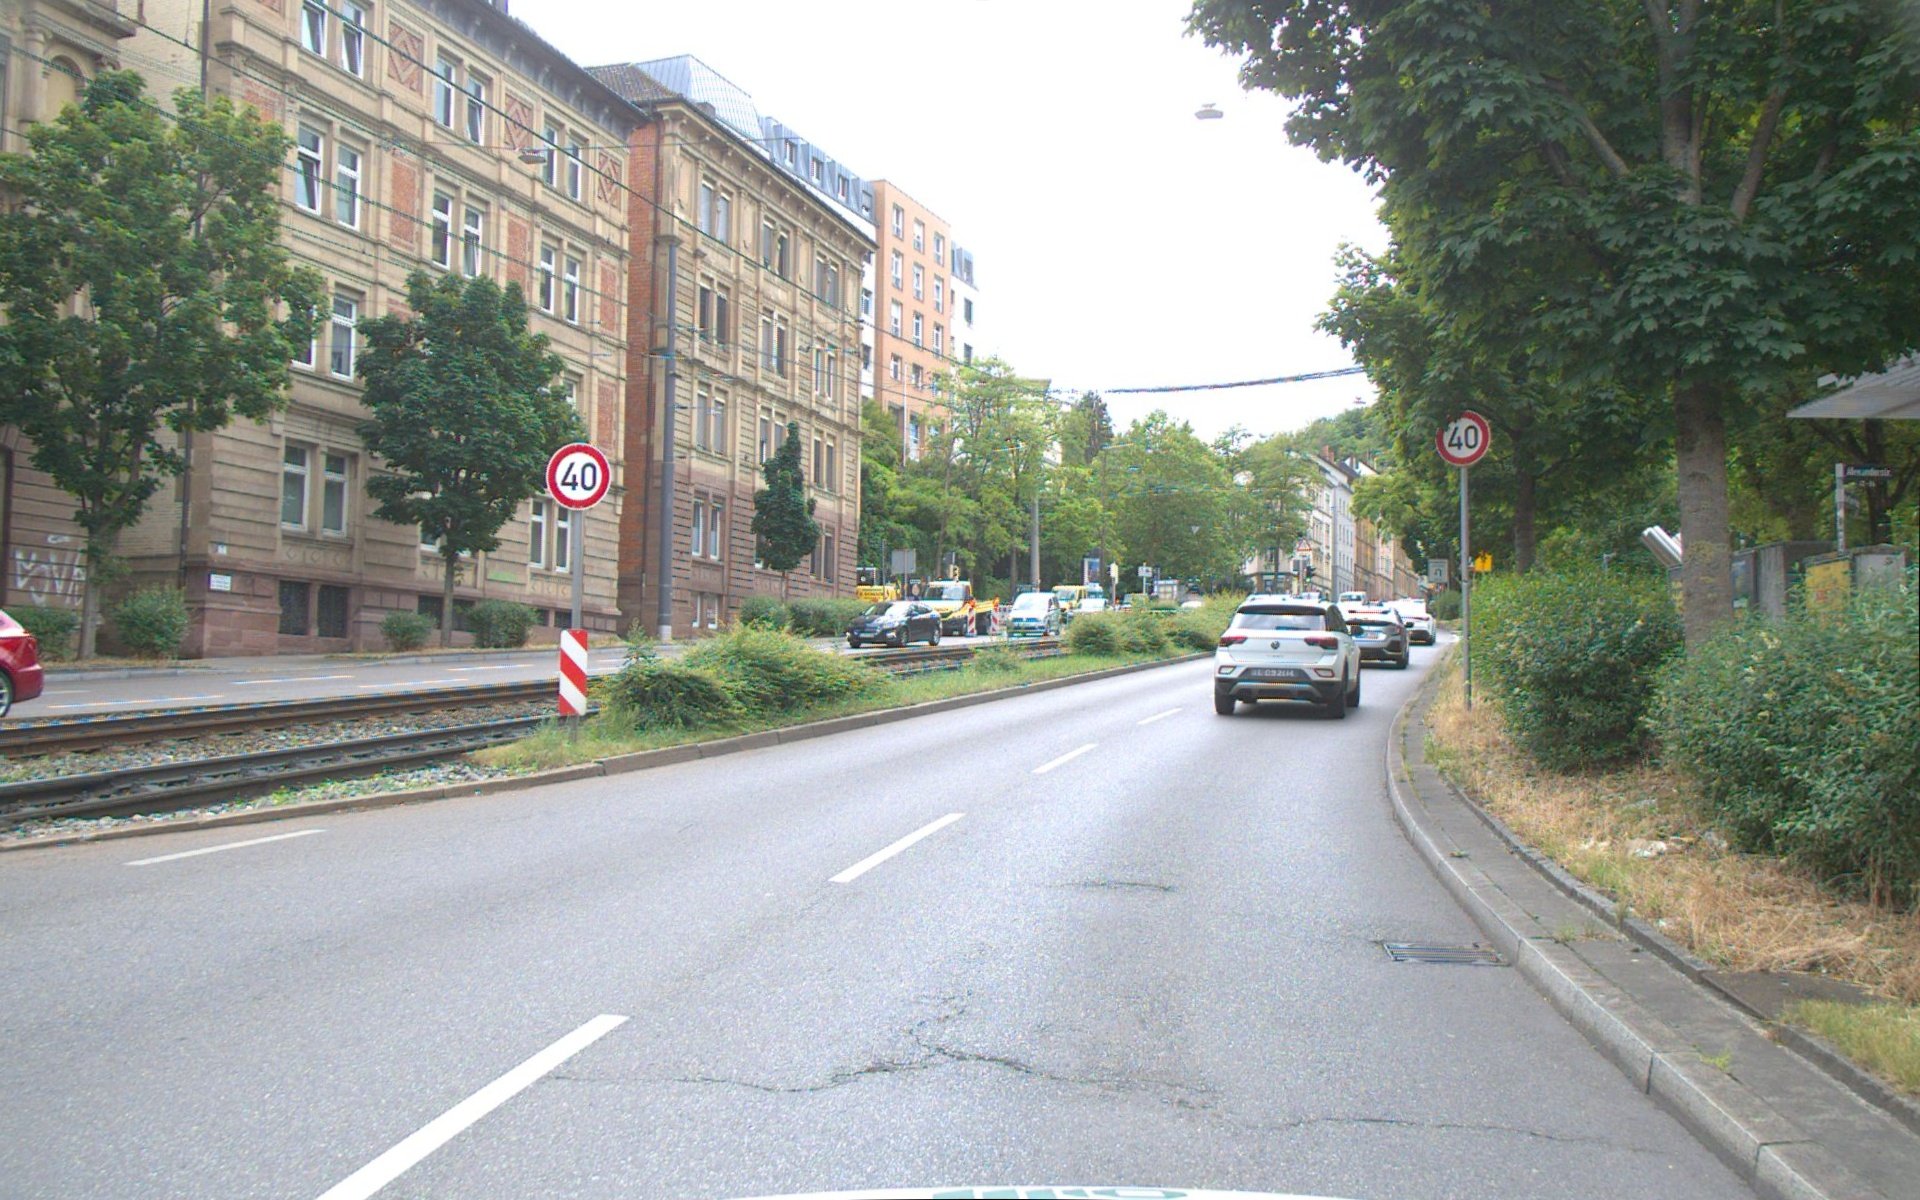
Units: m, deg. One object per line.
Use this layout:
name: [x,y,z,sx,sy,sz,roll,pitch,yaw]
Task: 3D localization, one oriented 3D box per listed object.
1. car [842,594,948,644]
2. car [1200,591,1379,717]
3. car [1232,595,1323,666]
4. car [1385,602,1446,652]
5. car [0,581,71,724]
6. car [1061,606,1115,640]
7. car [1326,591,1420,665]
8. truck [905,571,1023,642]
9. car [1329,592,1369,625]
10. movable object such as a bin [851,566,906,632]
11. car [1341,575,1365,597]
car: [-2.021,0.613,53.208,1.781,1.476,4.948,1,0,18]
car: [4.759,0.735,23.471,1.898,1.594,4.046,1,-1,20]
car: [8.590,0.817,44.519,1.801,1.770,4.001,1,-1,20]
car: [15.972,0.928,57.866,1.951,1.651,4.002,1,0,17]
car: [-11.626,0.541,16.898,1.951,1.545,4.408,1,0,16]
car: [6.476,1.199,83.073,1.825,1.582,4.440,2,-1,16]
car: [9.847,0.712,39.669,1.862,1.601,3.837,3,-2,10]
truck: [0.277,0.344,70.836,2.857,2.553,7.156,4,-1,18]
car: [28.229,0.637,119.894,2.371,2.207,6.037,1,0,16]
movable object such as a bin: [-3.618,-0.009,73.545,1.951,2.888,2.031,0,-1,13]
car: [39.039,-1.362,164.139,1.952,2.049,4.002,-1,-1,18]
